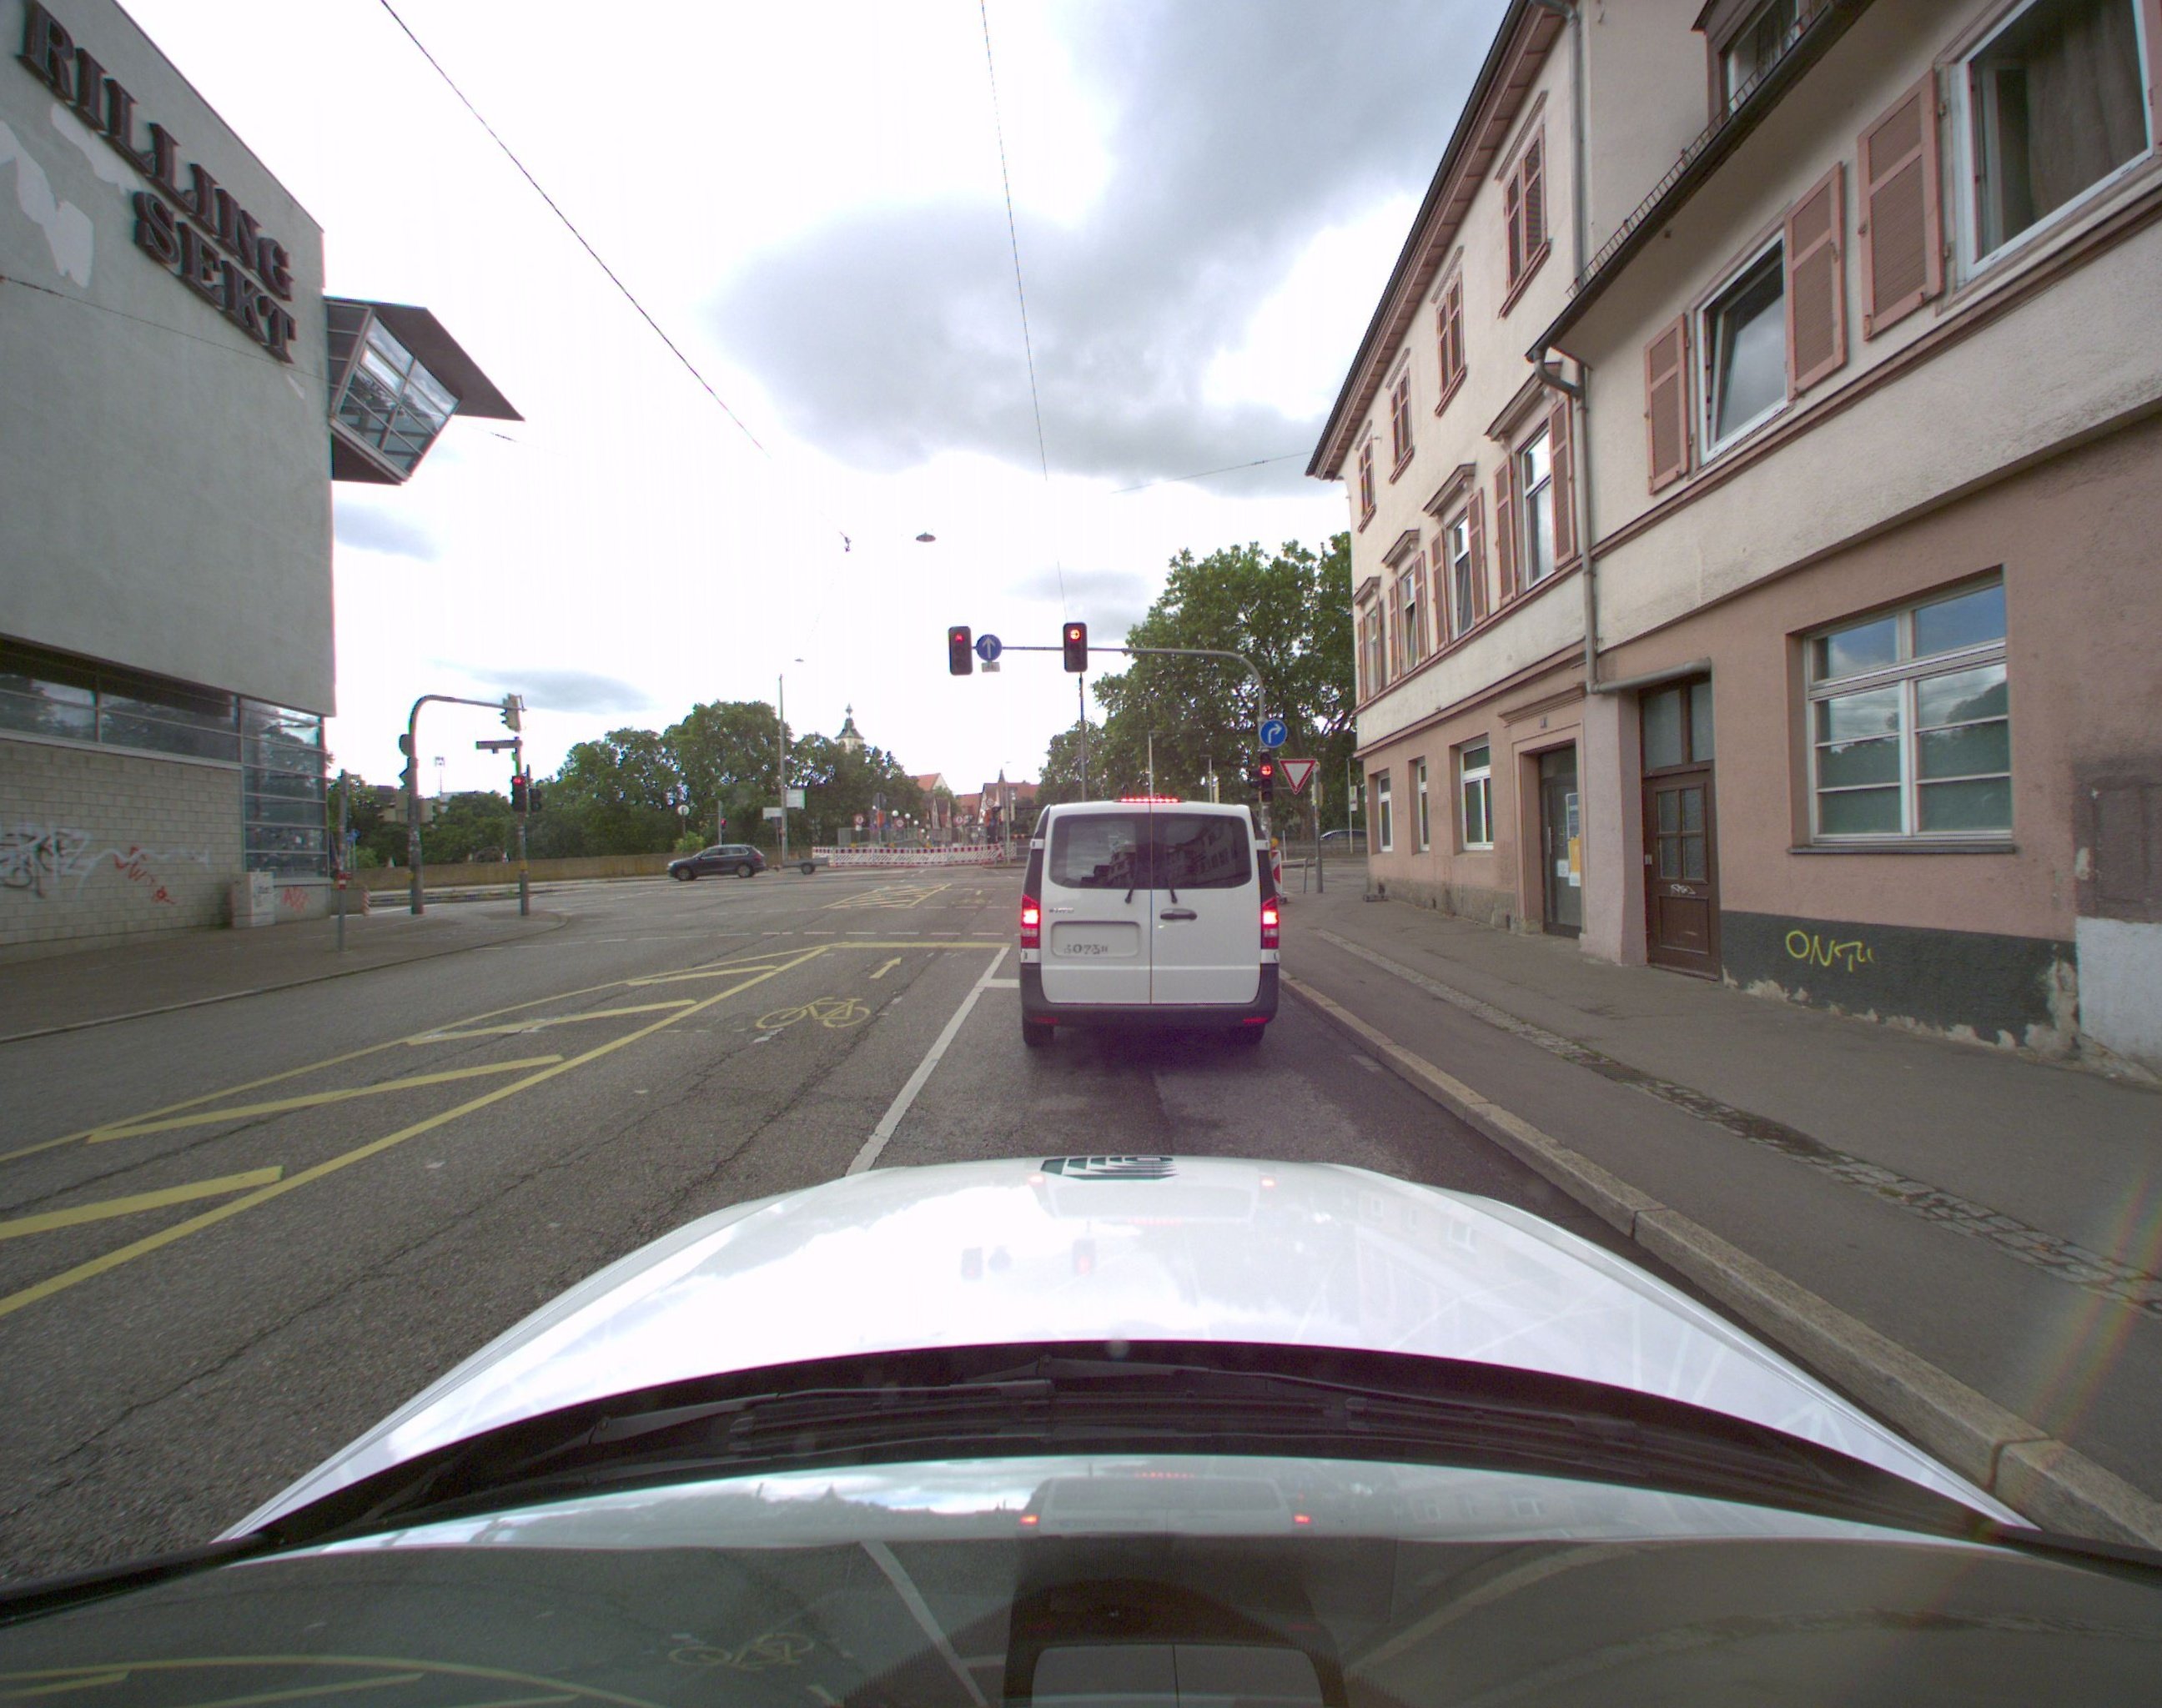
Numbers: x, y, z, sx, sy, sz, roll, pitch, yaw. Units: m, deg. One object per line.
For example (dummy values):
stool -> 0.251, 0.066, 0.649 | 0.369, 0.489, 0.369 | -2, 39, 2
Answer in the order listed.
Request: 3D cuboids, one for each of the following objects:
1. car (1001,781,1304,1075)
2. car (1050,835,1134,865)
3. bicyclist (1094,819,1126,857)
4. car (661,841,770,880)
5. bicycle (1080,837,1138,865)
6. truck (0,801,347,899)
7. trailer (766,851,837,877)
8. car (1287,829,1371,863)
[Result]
car -> 0.510, 0.429, 7.504 | 1.987, 1.922, 4.250 | -1, 2, 1
car -> 0.563, -0.222, 43.818 | 4.275, 1.452, 1.894 | -1, 0, -10
bicyclist -> 1.714, -0.940, 48.458 | 1.565, 2.156, 1.242 | -2, 0, -12
car -> -17.687, 0.319, 39.609 | 4.530, 1.634, 1.988 | -3, 0, -17
bicycle -> 1.646, -0.202, 48.479 | 3.147, 1.569, 1.464 | -2, 0, -12
truck -> -37.280, -0.253, 33.629 | 10.213, 3.696, 2.257 | -1, 0, -18
trailer -> -13.908, 0.475, 40.763 | 3.207, 1.158, 1.989 | -2, 0, -16
car -> 13.865, -0.441, 45.650 | 3.985, 1.740, 1.994 | -1, -1, -8
